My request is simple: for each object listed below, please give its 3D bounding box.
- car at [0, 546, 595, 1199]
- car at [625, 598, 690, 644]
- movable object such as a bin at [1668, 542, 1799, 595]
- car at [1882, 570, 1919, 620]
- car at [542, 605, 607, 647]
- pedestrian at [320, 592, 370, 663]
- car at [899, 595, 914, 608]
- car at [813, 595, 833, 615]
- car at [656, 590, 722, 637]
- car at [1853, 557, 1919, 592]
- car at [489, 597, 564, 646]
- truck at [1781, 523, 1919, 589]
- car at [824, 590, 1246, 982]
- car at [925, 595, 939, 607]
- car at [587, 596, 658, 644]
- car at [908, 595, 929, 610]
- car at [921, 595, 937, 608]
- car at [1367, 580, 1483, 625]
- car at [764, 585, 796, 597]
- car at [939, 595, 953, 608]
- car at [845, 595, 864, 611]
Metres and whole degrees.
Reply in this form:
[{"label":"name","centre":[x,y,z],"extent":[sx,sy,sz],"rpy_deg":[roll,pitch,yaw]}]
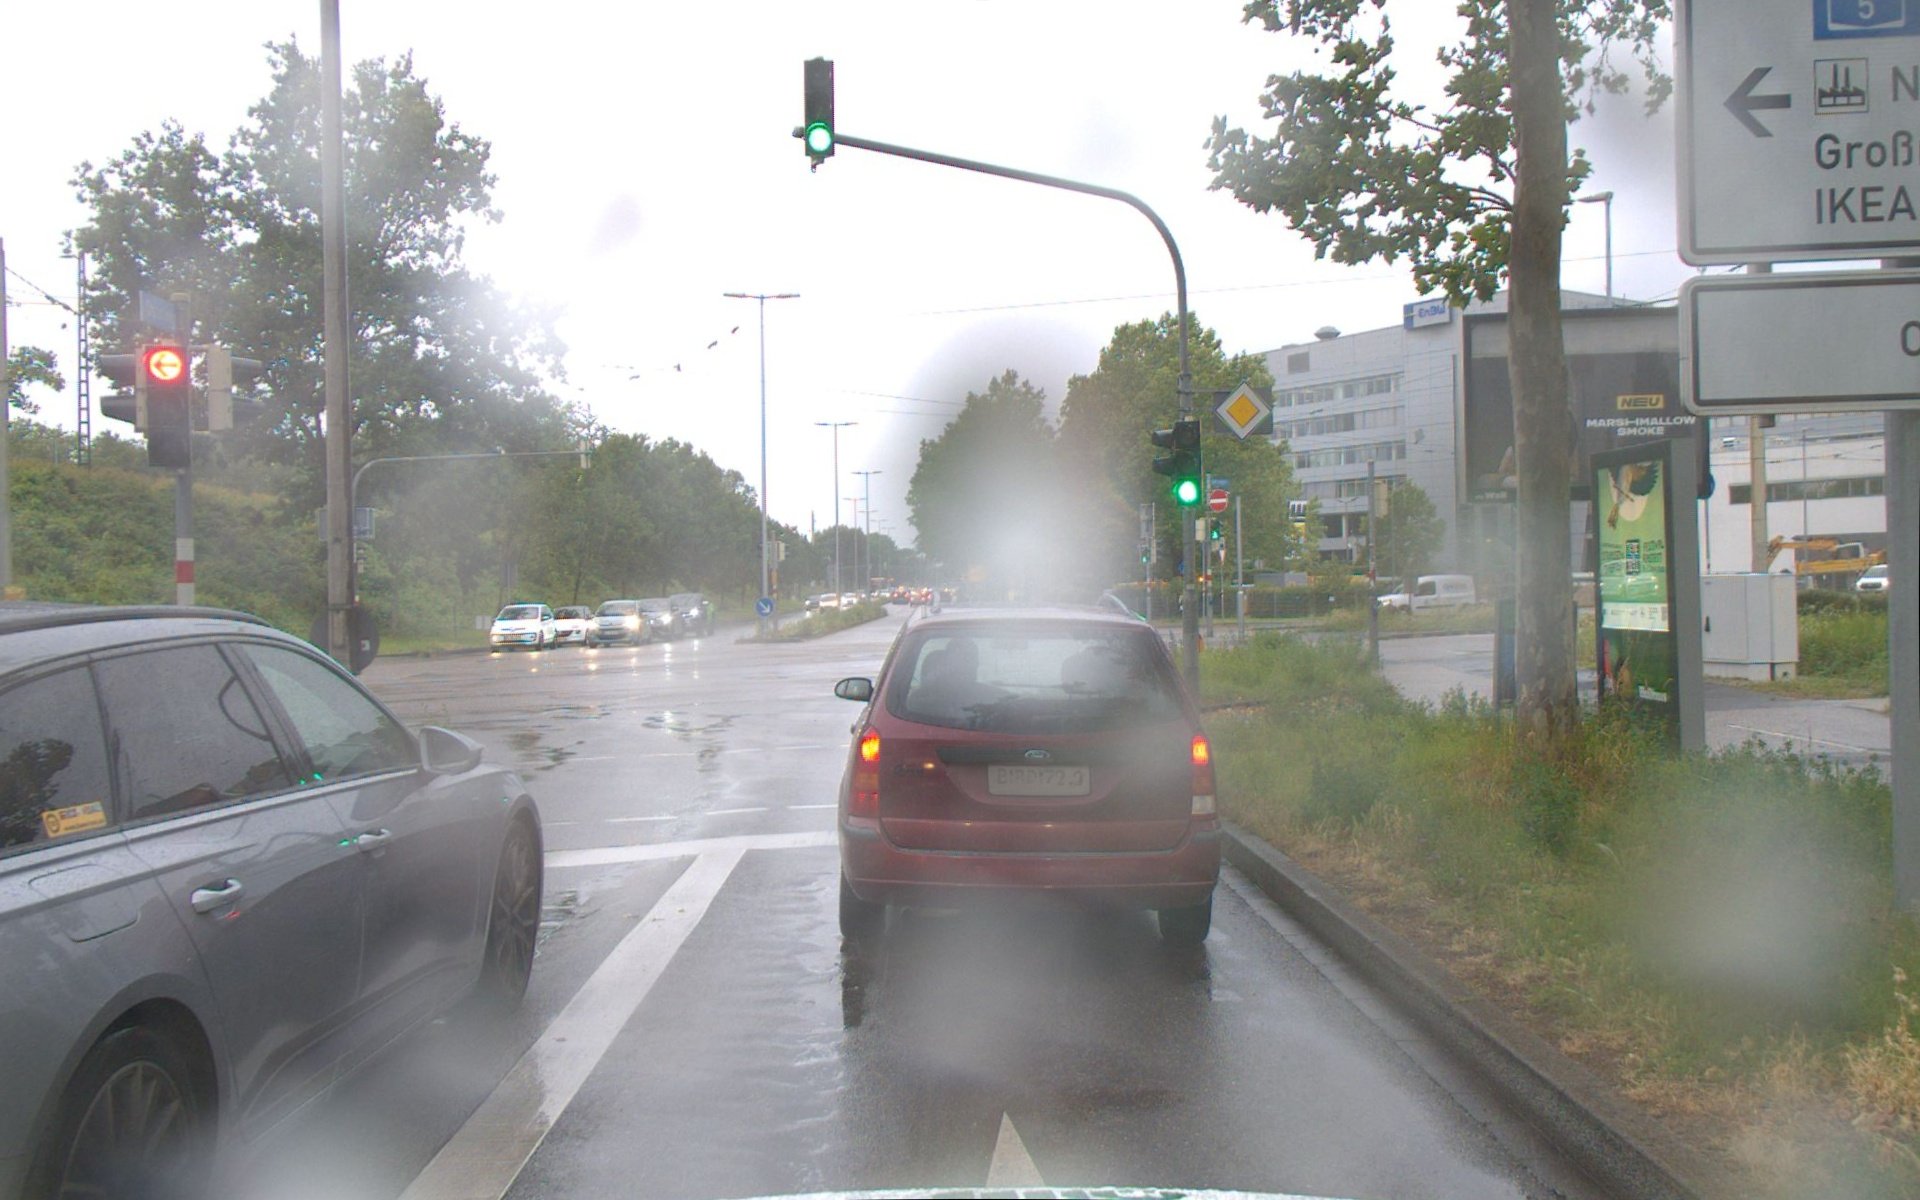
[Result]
[{"label":"car","centre":[-2.284,0.700,4.259],"extent":[1.733,1.601,4.819],"rpy_deg":[1,0,-2]},{"label":"car","centre":[-11.375,0.784,62.454],"extent":[1.727,1.614,4.811],"rpy_deg":[-2,0,-2]},{"label":"movable object such as a bin","centre":[48.312,-1.958,103.411],"extent":[3.293,3.048,6.634],"rpy_deg":[-2,0,-36]},{"label":"car","centre":[30.177,-0.159,50.804],"extent":[3.768,1.517,1.660],"rpy_deg":[0,0,-33]},{"label":"car","centre":[-14.079,0.938,60.605],"extent":[1.558,1.428,3.821],"rpy_deg":[-2,0,-2]},{"label":"pedestrian","centre":[-16.658,0.740,44.828],"extent":[1.083,1.879,1.127],"rpy_deg":[-1,0,-13]},{"label":"car","centre":[-6.536,0.216,201.852],"extent":[1.663,1.554,3.846],"rpy_deg":[-1,0,1]},{"label":"car","centre":[-12.370,0.433,149.771],"extent":[1.710,1.732,4.280],"rpy_deg":[-3,0,-5]},{"label":"car","centre":[-11.513,0.535,70.672],"extent":[2.024,1.851,5.539],"rpy_deg":[-2,0,-2]},{"label":"car","centre":[46.542,-1.291,82.547],"extent":[4.334,1.649,1.753],"rpy_deg":[-2,0,-36]},{"label":"car","centre":[-14.174,0.674,54.218],"extent":[1.605,1.478,3.785],"rpy_deg":[-2,0,-3]},{"label":"truck","centre":[52.768,-2.519,96.804],"extent":[3.292,3.568,7.789],"rpy_deg":[-2,0,-36]},{"label":"car","centre":[0.238,0.713,8.244],"extent":[1.609,1.490,3.731],"rpy_deg":[1,0,-2]},{"label":"car","centre":[-3.853,0.144,229.911],"extent":[1.636,1.554,3.847],"rpy_deg":[-1,0,4]},{"label":"car","centre":[-11.260,0.647,55.369],"extent":[1.605,1.499,3.964],"rpy_deg":[-2,0,-2]},{"label":"car","centre":[-4.532,0.265,182.752],"extent":[2.103,1.554,4.193],"rpy_deg":[-1,0,1]},{"label":"car","centre":[-3.629,0.174,193.433],"extent":[1.663,1.554,3.846],"rpy_deg":[-1,0,0]},{"label":"car","centre":[18.549,0.094,66.027],"extent":[4.154,1.756,1.737],"rpy_deg":[0,0,-11]},{"label":"car","centre":[-26.406,-1.282,242.451],"extent":[4.237,1.625,1.944],"rpy_deg":[-2,0,-37]},{"label":"car","centre":[-1.779,0.171,208.026],"extent":[1.637,1.554,3.846],"rpy_deg":[-1,0,1]},{"label":"car","centre":[-12.406,0.351,194.556],"extent":[1.923,1.732,4.283],"rpy_deg":[-2,0,-1]}]
